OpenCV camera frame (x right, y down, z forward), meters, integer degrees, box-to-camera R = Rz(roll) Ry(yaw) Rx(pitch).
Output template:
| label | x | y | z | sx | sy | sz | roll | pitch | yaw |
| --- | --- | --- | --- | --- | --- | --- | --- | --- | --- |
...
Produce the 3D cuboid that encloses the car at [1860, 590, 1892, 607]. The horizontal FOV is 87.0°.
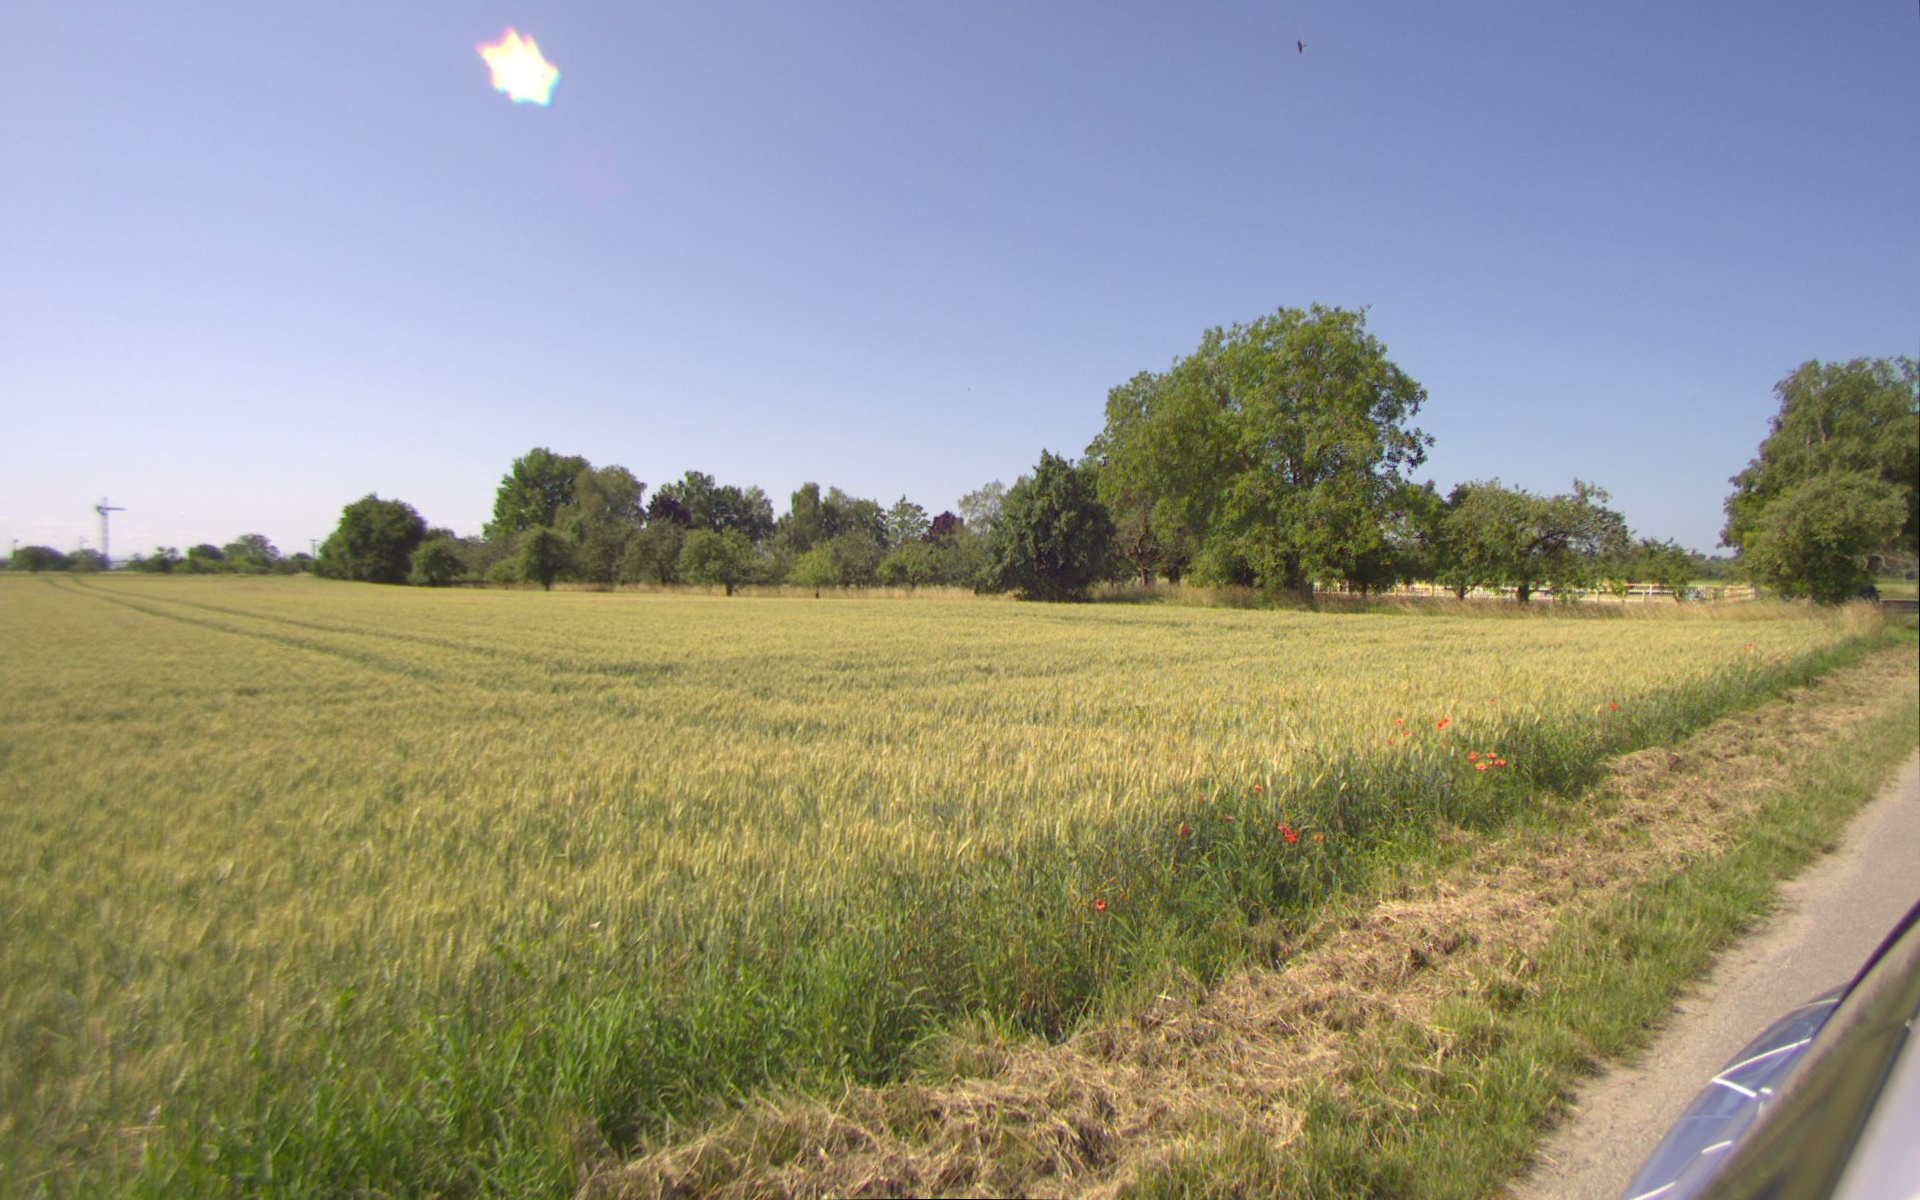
| label | x | y | z | sx | sy | sz | roll | pitch | yaw |
| --- | --- | --- | --- | --- | --- | --- | --- | --- | --- |
| car | 75.077 | -0.153 | 82.982 | 1.715 | 1.336 | 3.690 | 2 | 2 | 39 |
